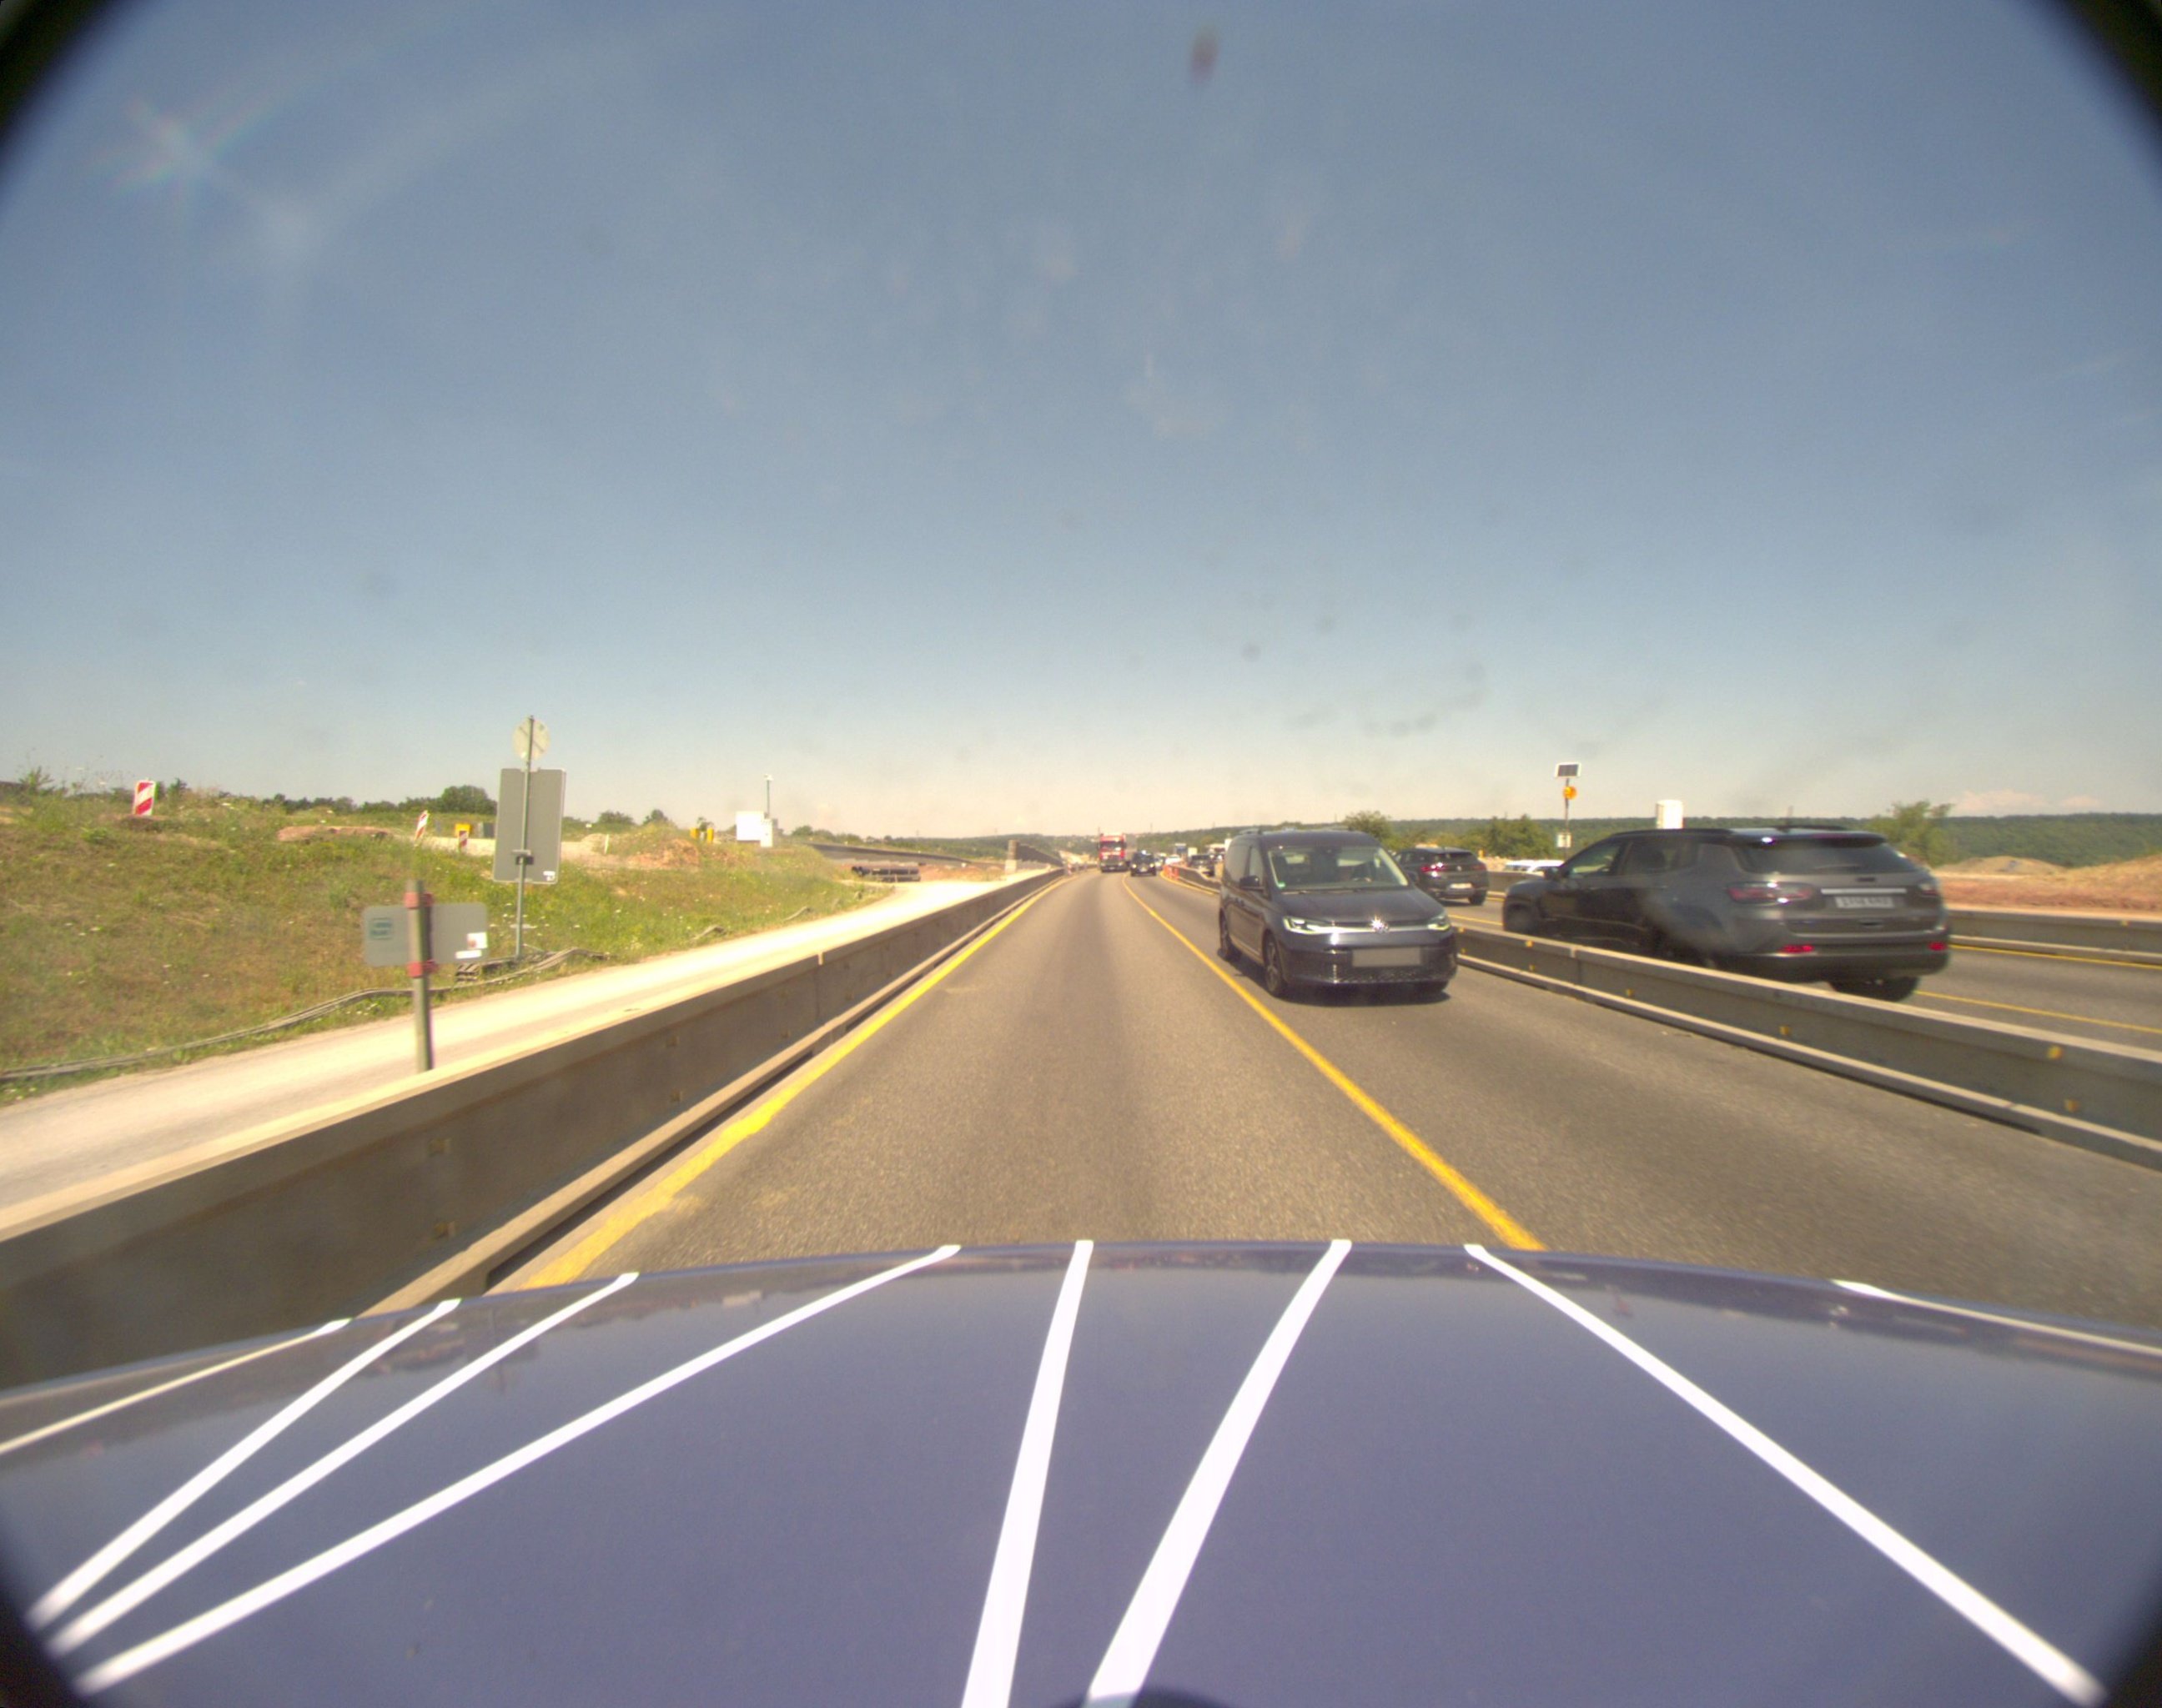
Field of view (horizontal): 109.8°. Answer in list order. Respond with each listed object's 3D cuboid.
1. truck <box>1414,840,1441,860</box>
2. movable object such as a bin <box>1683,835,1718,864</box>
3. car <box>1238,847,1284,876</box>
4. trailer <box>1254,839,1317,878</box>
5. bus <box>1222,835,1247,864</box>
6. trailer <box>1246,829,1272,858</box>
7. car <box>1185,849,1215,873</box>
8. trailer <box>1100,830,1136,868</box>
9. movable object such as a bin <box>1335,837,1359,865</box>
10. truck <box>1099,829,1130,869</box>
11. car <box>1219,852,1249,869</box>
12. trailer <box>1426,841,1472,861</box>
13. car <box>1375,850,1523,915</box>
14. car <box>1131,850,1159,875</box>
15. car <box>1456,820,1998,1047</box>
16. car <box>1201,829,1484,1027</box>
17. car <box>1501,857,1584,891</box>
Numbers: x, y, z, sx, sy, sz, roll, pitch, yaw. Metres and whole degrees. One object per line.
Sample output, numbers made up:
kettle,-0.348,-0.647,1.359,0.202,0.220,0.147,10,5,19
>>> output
truck,55.044,-0.648,120.706,2.347,3.026,4.264,-1,0,0
movable object such as a bin,68.916,-0.448,84.592,1.995,3.122,4.493,-1,0,25
car,11.459,0.456,48.773,1.928,1.669,4.717,-1,0,1
trailer,10.989,0.207,41.258,2.136,1.970,5.235,1,0,2
bus,17.048,-0.467,84.778,2.353,3.107,7.233,-1,0,9
trailer,26.632,-1.482,113.368,2.763,4.090,13.994,-1,0,17
car,8.078,0.477,51.968,1.698,1.570,4.135,-1,0,5
trailer,4.226,-0.535,83.761,2.700,3.852,12.430,-1,0,8
movable object such as a bin,42.015,-0.456,119.786,2.926,4.304,9.341,-1,0,24
truck,3.450,-0.488,77.362,2.625,3.880,4.936,-1,0,8
car,12.855,0.523,64.162,1.825,1.415,4.648,-1,0,3
trailer,56.099,-0.437,115.905,5.577,2.979,2.883,-1,0,0
car,9.357,0.651,19.757,1.729,1.470,4.393,-1,0,1
car,4.843,0.612,58.106,1.799,1.776,3.999,-1,0,0
car,6.234,0.613,8.390,1.776,1.731,5.039,-1,0,1
car,2.790,0.683,9.354,1.925,1.779,4.603,-2,0,1
car,21.171,0.903,34.870,3.204,1.447,1.545,-1,0,-18
